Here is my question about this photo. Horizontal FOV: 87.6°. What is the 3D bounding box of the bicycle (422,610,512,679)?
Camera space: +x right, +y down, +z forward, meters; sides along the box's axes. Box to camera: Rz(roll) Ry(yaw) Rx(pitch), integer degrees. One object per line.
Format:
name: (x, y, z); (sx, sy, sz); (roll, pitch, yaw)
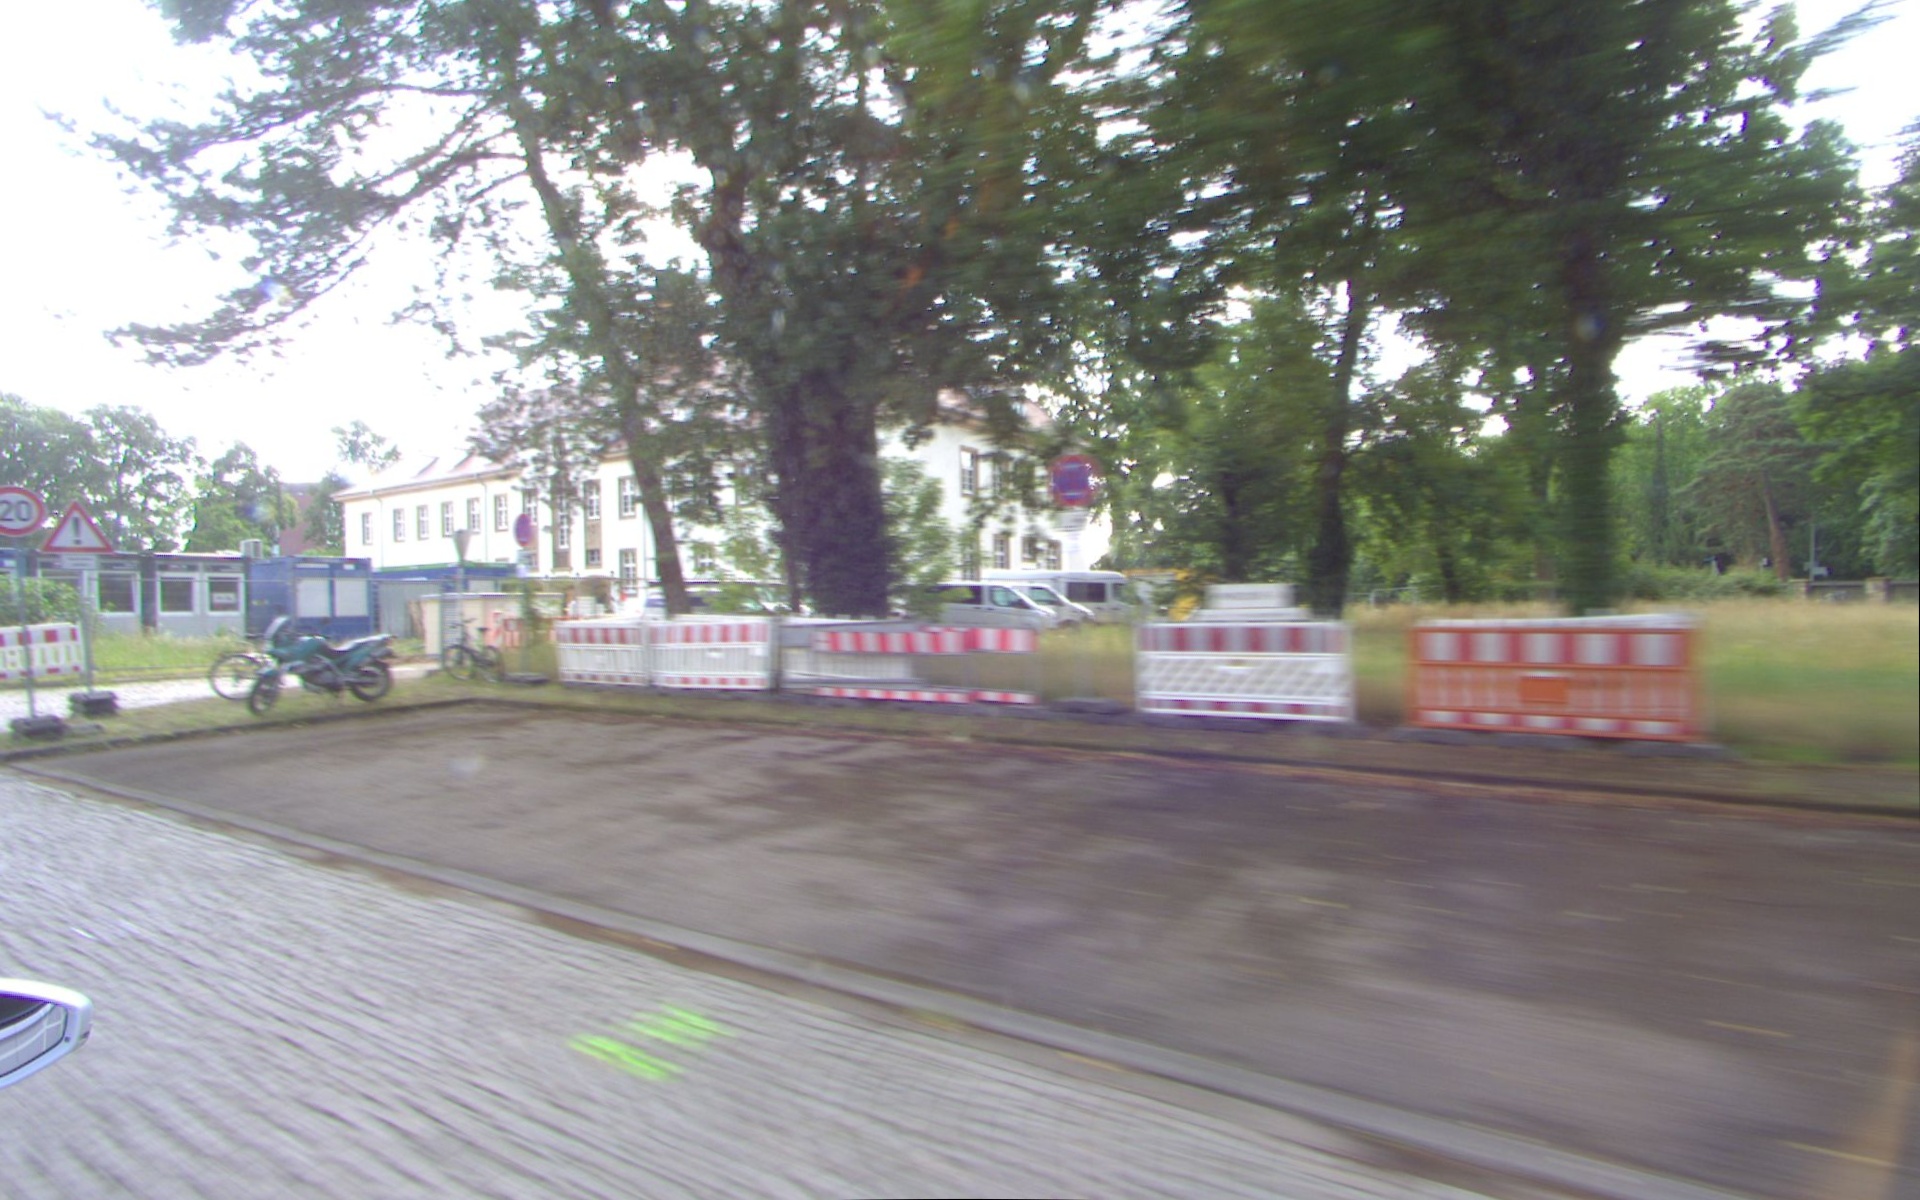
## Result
bicycle: (-8.913, 0.778, 18.073); (1.879, 1.185, 0.640); (0, 1, 36)

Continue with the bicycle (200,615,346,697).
bicycle: (-11.075, 0.878, 16.184); (1.881, 1.213, 0.651); (-1, 1, -38)

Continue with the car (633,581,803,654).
car: (-6.953, 0.459, 29.237); (1.880, 1.946, 4.845); (1, 1, 34)

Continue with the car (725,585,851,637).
car: (-6.577, 0.449, 38.125); (4.811, 1.848, 1.987); (-1, -2, 36)

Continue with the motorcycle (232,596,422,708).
motorcycle: (-9.241, 0.708, 14.744); (0.745, 1.505, 2.274); (0, 1, 28)

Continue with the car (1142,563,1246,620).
car: (9.761, -0.247, 41.335); (2.182, 2.122, 6.127); (-1, -2, 34)

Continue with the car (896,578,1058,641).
car: (0.567, 0.327, 30.634); (4.780, 1.848, 2.000); (0, -1, 7)

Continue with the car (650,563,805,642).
car: (-8.255, 0.157, 35.208); (5.832, 2.589, 1.988); (-1, -1, 36)

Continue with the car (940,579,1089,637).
car: (1.850, 0.301, 33.117); (4.780, 1.848, 2.000); (0, -1, 7)

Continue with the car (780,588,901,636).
car: (-4.895, 0.523, 40.752); (4.810, 1.848, 1.988); (-1, -2, 35)

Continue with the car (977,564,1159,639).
car: (3.817, 0.091, 35.828); (6.297, 2.611, 2.000); (0, -1, 4)
